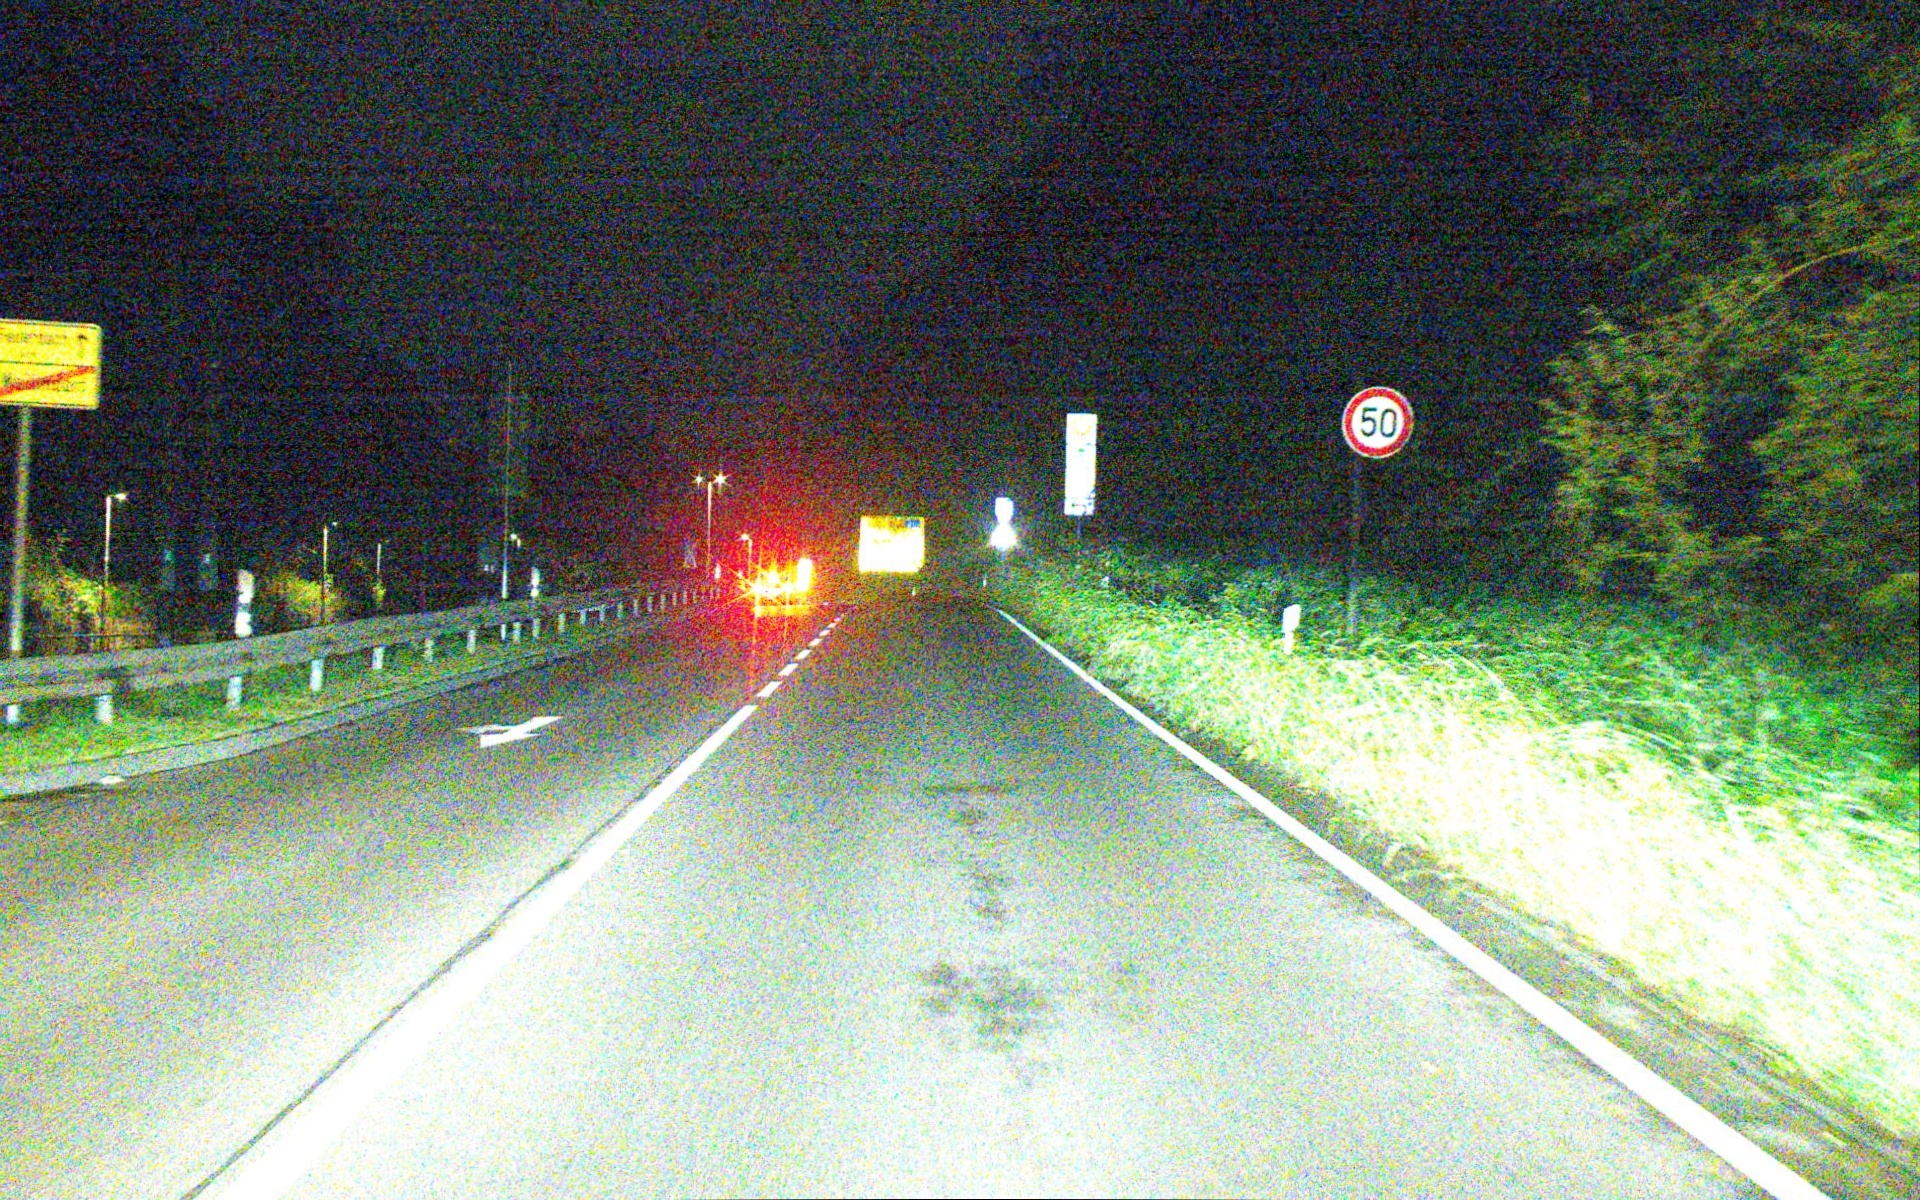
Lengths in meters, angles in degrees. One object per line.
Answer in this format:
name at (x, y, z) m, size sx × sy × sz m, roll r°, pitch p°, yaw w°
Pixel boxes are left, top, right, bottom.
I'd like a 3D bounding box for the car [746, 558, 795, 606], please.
car at (-8.726, -0.810, 157.809) m, size 1.993 × 2.007 × 4.000 m, roll 2°, pitch -2°, yaw -6°
